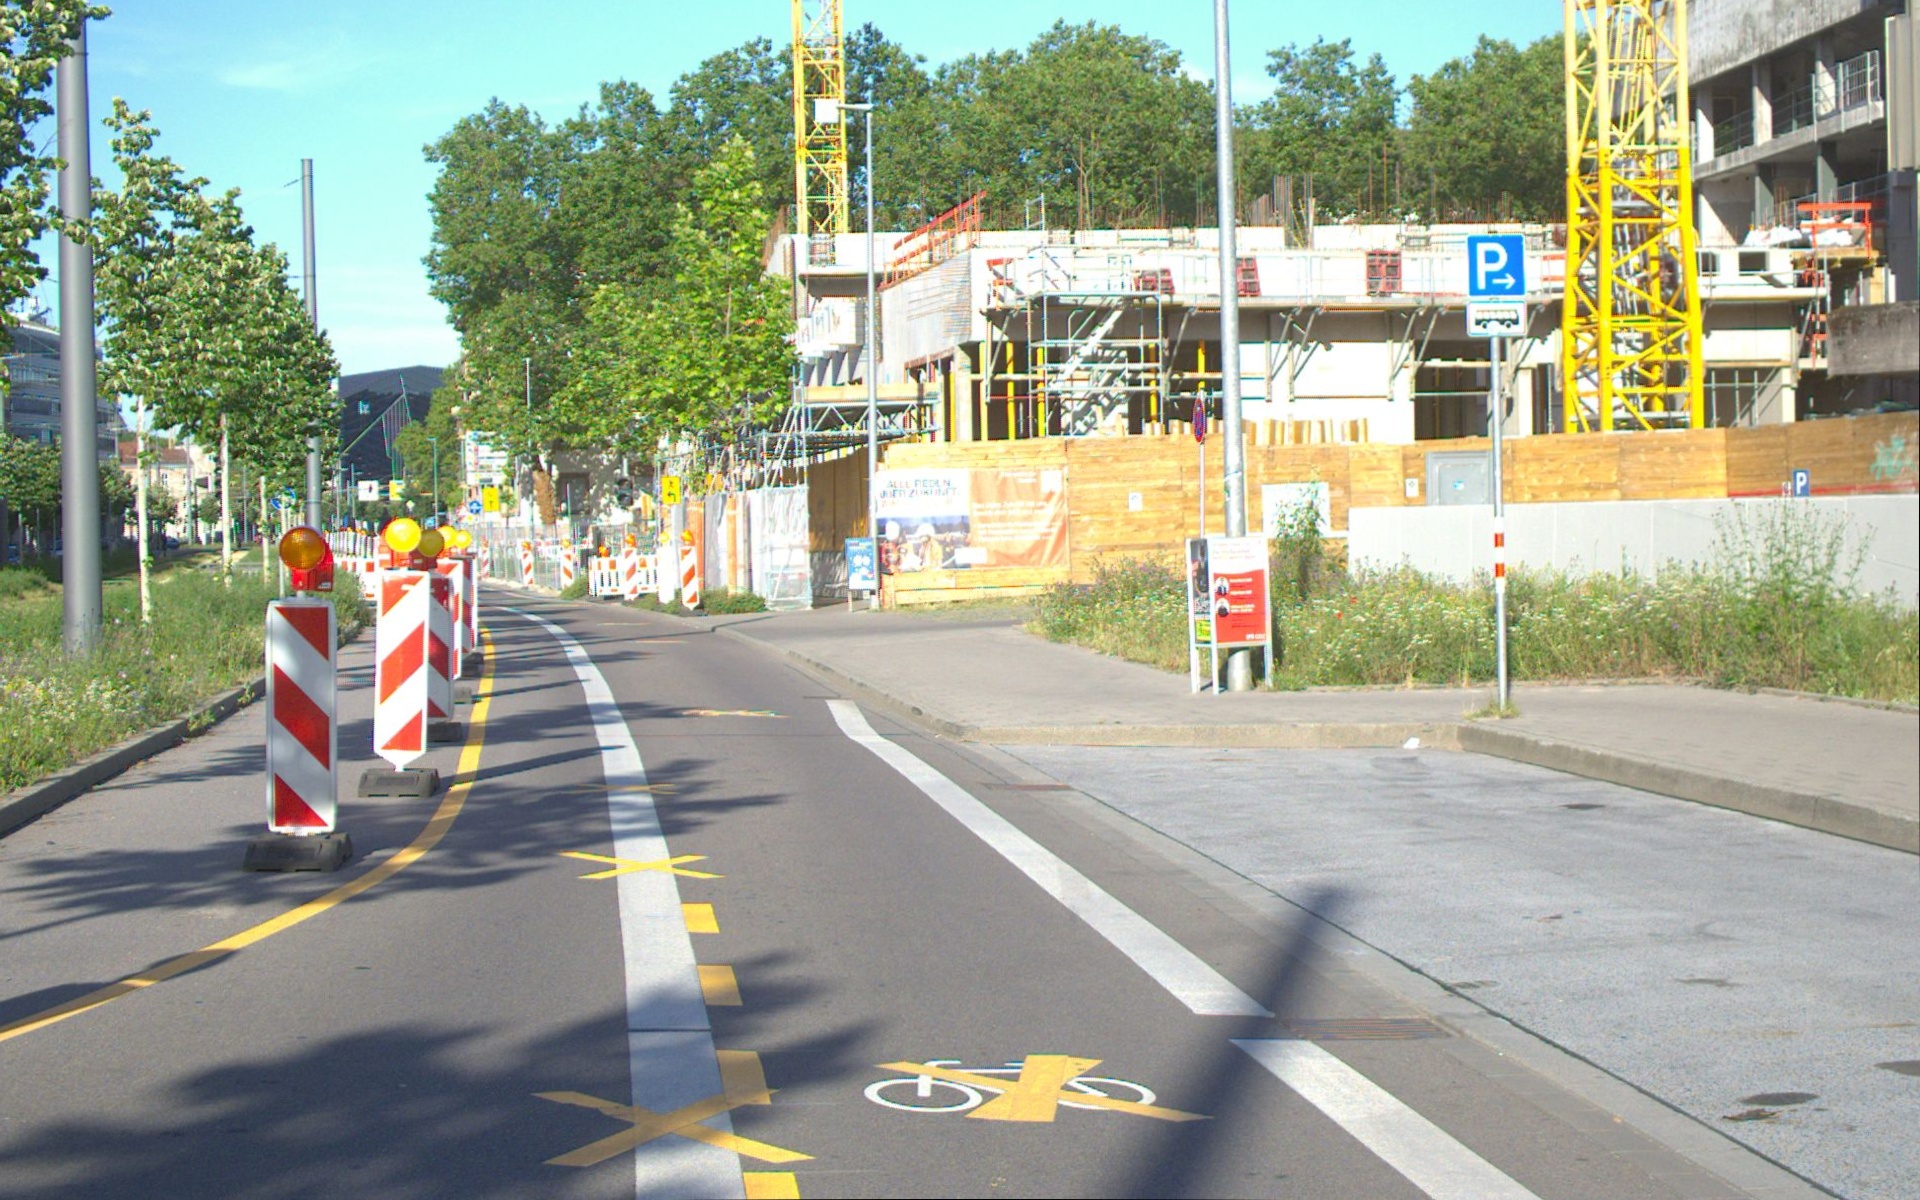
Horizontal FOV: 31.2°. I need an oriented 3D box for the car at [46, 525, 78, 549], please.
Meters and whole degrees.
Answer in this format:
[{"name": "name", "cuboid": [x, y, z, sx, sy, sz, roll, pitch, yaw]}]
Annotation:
[{"name": "car", "cuboid": [-55.942, -3.921, 214.107, 1.594, 1.478, 3.624, -1, 1, -9]}]
